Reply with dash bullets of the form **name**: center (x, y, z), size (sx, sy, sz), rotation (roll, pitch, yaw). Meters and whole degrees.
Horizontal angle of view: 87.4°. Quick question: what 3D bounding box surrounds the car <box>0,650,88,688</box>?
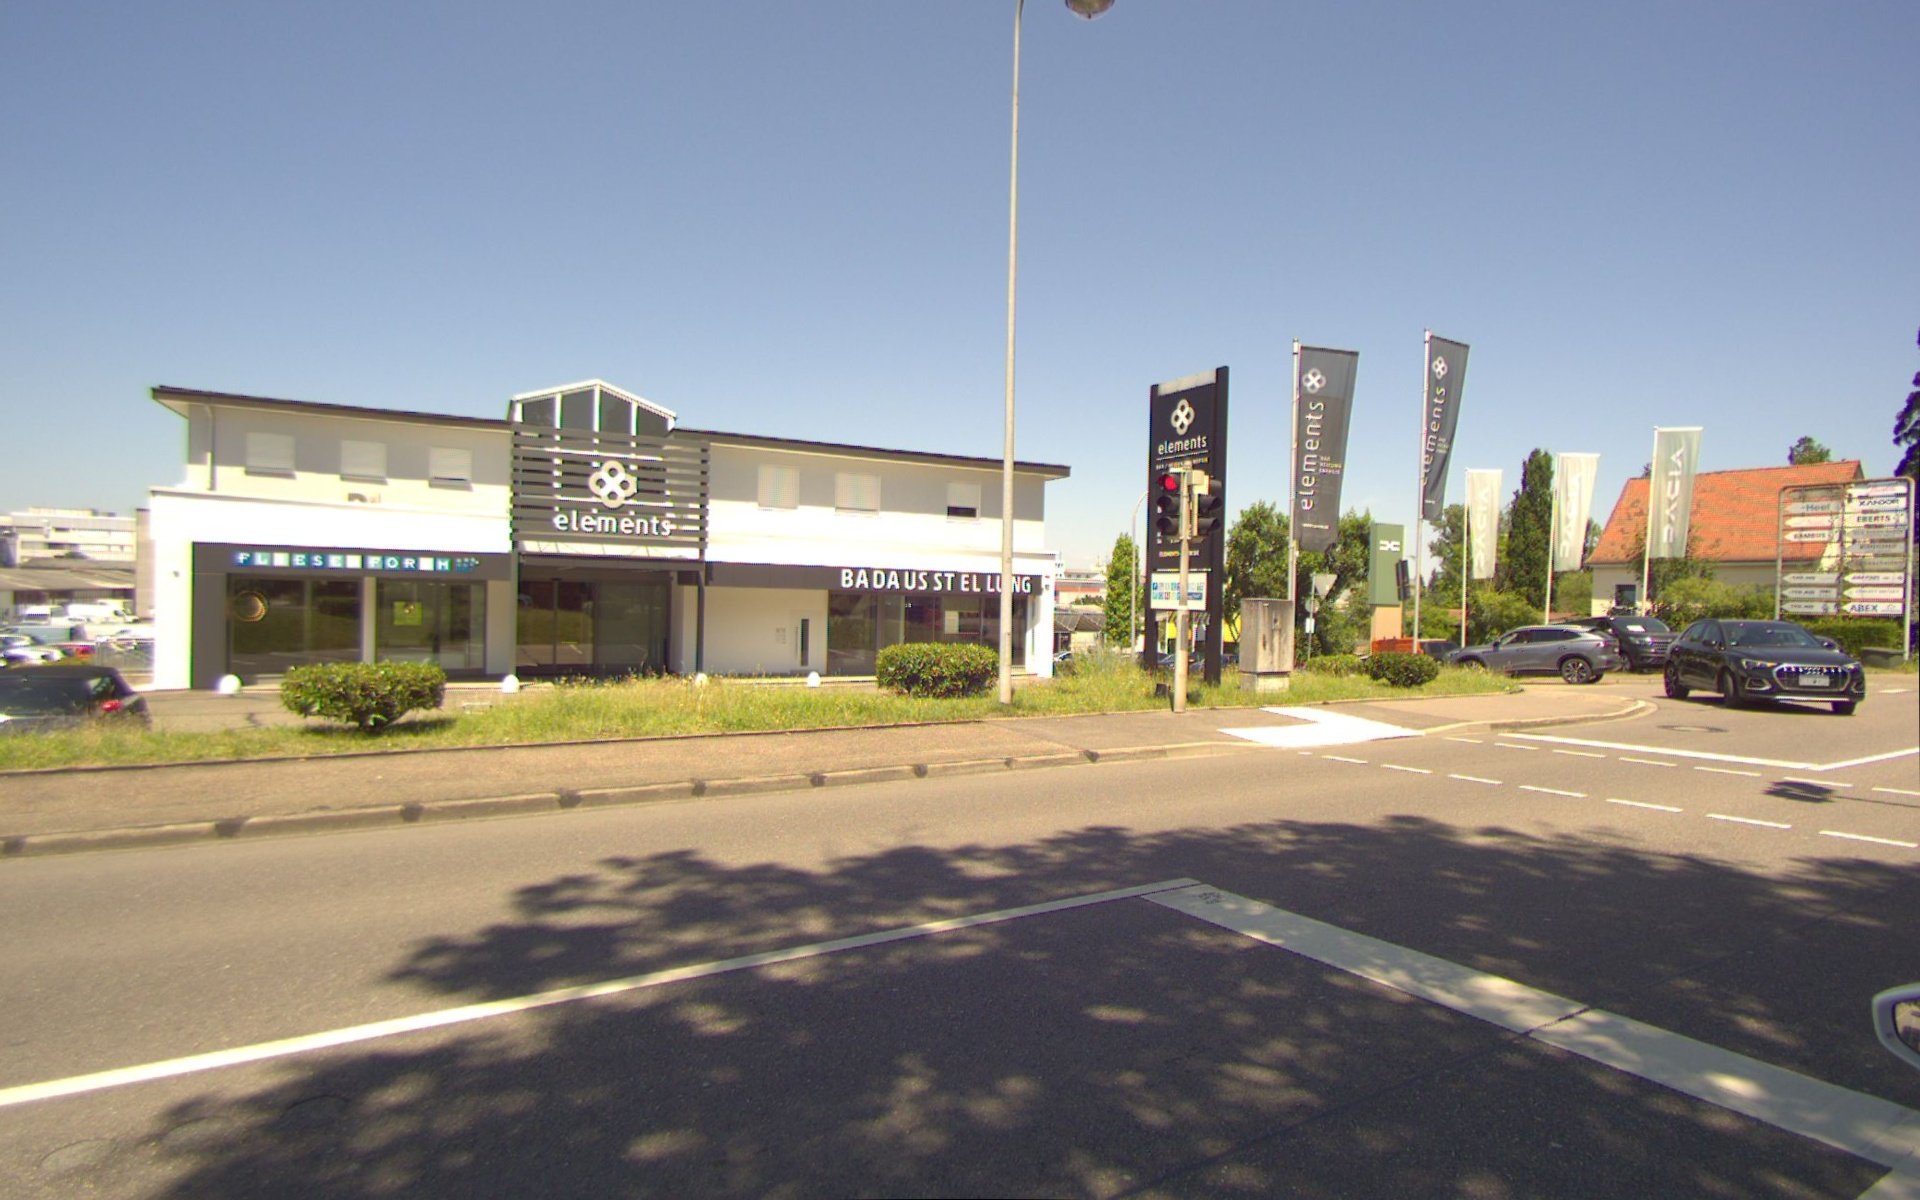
- **car**: center (-42.261, 3.126, 45.806), size (3.427, 1.614, 1.712), rotation (2, 0, -30)

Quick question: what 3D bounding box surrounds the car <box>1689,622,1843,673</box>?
- **car**: center (25.004, 1.440, 31.246), size (1.586, 1.446, 3.466), rotation (1, -1, -36)

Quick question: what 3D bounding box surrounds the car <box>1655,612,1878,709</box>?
- **car**: center (14.653, 1.070, 18.577), size (1.890, 1.546, 4.308), rotation (0, -2, 19)

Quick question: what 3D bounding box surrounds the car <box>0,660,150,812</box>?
- **car**: center (-11.371, 1.545, 12.111), size (1.756, 1.442, 3.327), rotation (1, 0, -26)

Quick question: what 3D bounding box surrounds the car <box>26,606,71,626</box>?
- **car**: center (-89.873, 1.579, 99.079), size (1.972, 1.853, 3.977), rotation (2, 0, -23)

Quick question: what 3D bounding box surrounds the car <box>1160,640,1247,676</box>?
- **car**: center (11.519, 2.725, 47.674), size (1.736, 1.432, 3.967), rotation (2, 0, -30)

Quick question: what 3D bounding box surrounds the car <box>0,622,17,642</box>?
- **car**: center (-73.222, 2.369, 75.487), size (3.089, 1.403, 1.672), rotation (2, 0, -30)

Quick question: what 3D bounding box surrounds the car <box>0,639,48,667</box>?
- **car**: center (-54.486, 2.984, 56.821), size (3.953, 1.494, 1.742), rotation (2, 0, -30)

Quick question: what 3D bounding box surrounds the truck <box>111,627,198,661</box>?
- **truck**: center (-50.041, 2.723, 62.504), size (3.938, 2.003, 1.672), rotation (2, 0, -31)

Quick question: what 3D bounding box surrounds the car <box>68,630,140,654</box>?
- **car**: center (-50.453, 2.493, 59.267), size (3.009, 1.316, 1.295), rotation (2, 0, -31)

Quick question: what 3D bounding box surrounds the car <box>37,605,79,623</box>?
- **car**: center (-85.506, 1.344, 95.248), size (1.975, 1.617, 3.972), rotation (1, -1, -27)

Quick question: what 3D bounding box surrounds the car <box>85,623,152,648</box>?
- **car**: center (-55.626, 2.364, 66.453), size (3.089, 1.554, 1.672), rotation (2, 0, -30)

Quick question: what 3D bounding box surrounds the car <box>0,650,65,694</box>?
- **car**: center (-40.677, 3.033, 42.563), size (3.773, 1.750, 1.738), rotation (2, 0, -30)

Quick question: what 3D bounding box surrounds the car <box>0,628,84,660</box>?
- **car**: center (-55.007, 2.608, 59.785), size (3.953, 1.839, 1.984), rotation (1, -1, -30)

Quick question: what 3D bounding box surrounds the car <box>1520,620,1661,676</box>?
- **car**: center (19.947, 1.475, 31.885), size (1.586, 1.638, 3.465), rotation (1, -1, -37)

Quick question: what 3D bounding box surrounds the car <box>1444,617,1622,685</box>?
- **car**: center (16.720, 1.439, 29.421), size (4.246, 1.740, 1.876), rotation (1, 0, 41)

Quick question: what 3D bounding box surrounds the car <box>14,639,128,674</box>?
- **car**: center (-44.865, 2.859, 50.805), size (3.953, 1.657, 1.835), rotation (2, -1, -30)

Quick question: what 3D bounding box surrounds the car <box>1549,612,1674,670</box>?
- **car**: center (21.433, 1.331, 33.106), size (1.561, 1.736, 3.119), rotation (2, 0, -39)
